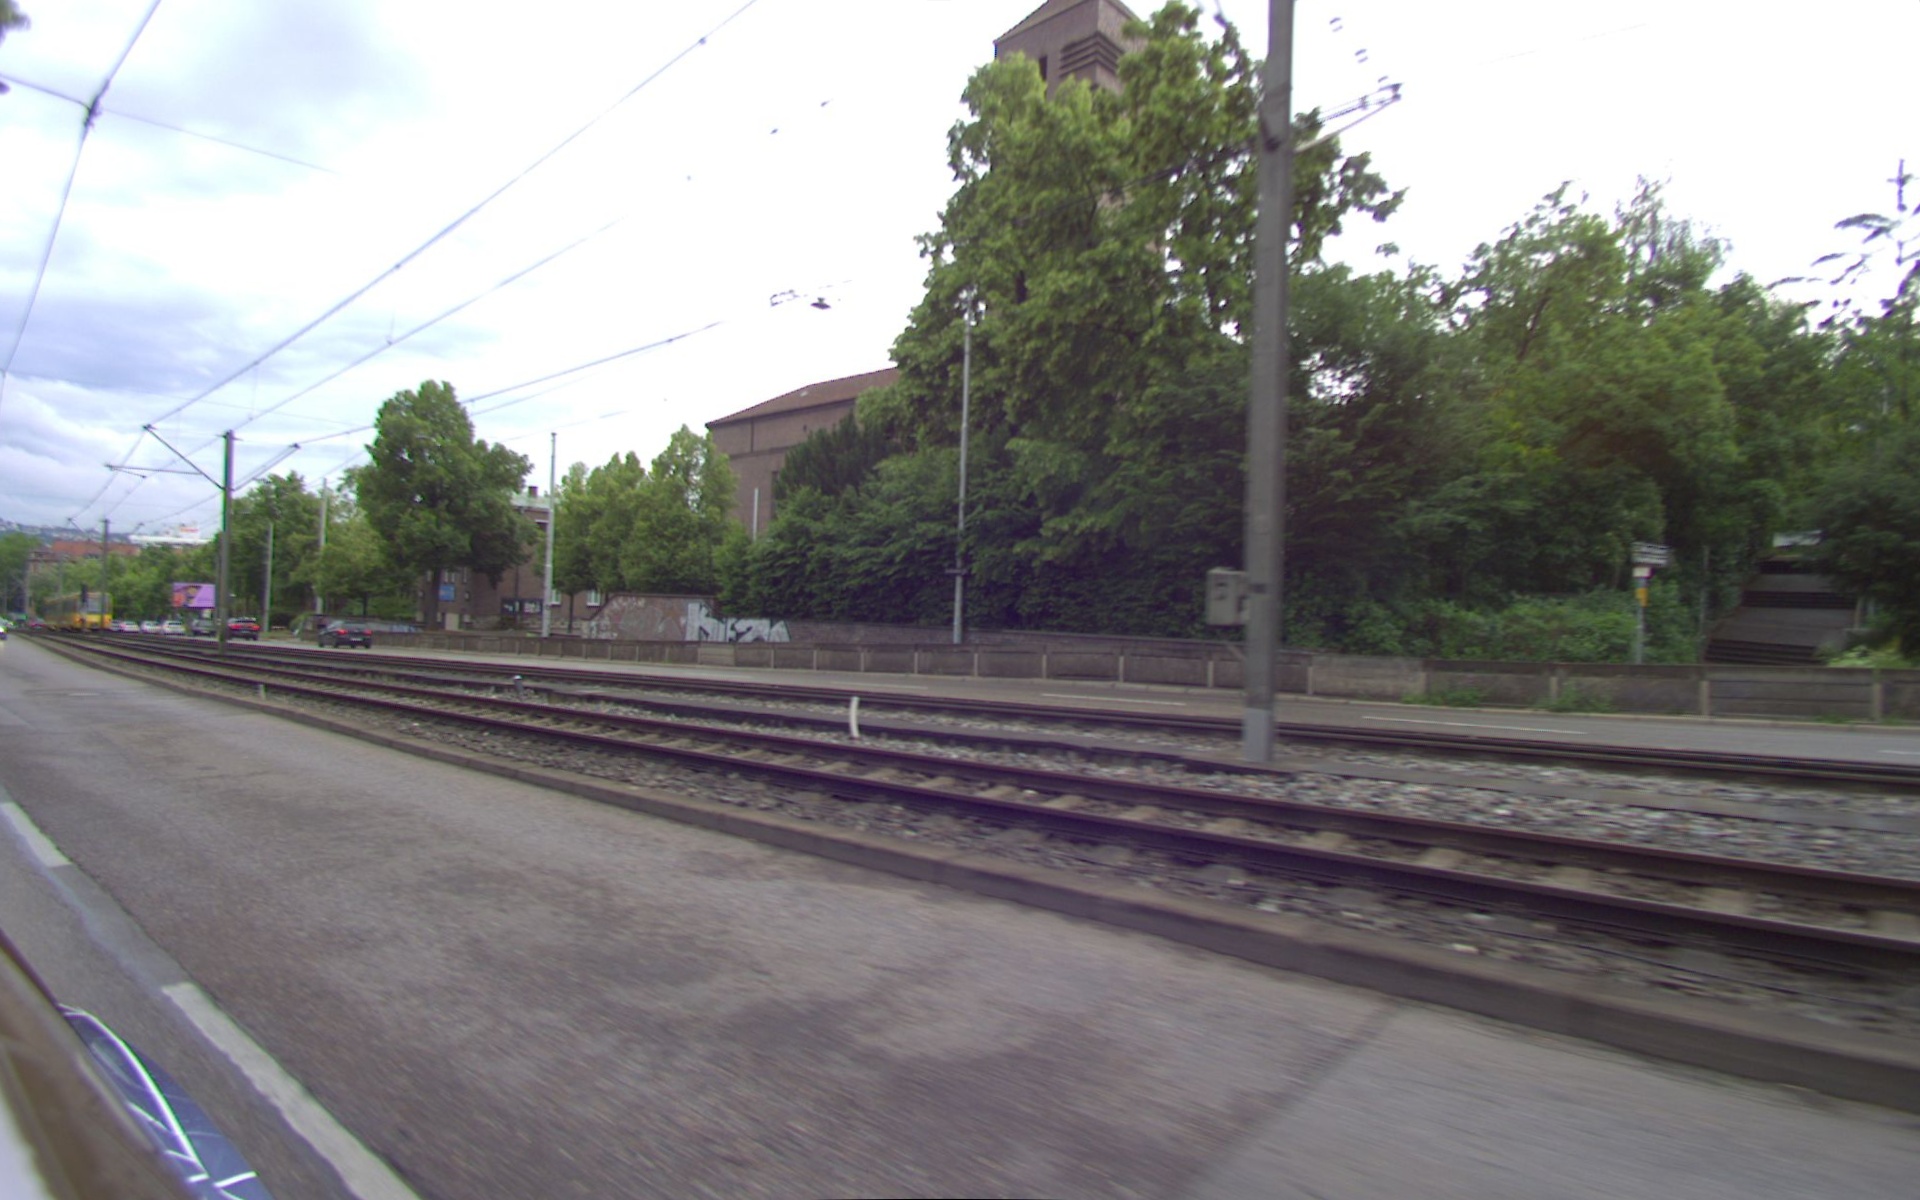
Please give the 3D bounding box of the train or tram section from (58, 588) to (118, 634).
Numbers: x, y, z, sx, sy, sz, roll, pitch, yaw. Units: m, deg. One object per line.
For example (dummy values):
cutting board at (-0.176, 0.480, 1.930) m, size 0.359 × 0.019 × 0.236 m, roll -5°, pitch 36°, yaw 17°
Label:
train or tram section at (-81.582, 1.183, 94.494) m, size 2.796 × 4.006 × 17.885 m, roll 2°, pitch -3°, yaw -45°

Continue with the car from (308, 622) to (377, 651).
car at (-32.920, 1.955, 53.944) m, size 4.321 × 1.452 × 1.944 m, roll -1°, pitch -4°, yaw 42°

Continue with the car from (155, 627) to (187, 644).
car at (-76.865, 3.451, 98.573) m, size 3.985 × 1.479 × 1.727 m, roll -2°, pitch -6°, yaw 43°

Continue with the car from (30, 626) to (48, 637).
car at (-139.332, 4.790, 153.102) m, size 4.342 × 1.650 × 1.668 m, roll -2°, pitch -3°, yaw 45°

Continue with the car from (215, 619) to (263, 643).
car at (-53.131, 2.300, 74.539) m, size 4.525 × 1.656 × 1.971 m, roll -1°, pitch -4°, yaw 43°

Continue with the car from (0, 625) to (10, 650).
car at (-60.402, 2.311, 62.997) m, size 1.743 × 1.523 × 4.345 m, roll 2°, pitch -3°, yaw -43°

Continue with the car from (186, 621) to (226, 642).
car at (-64.697, 2.691, 86.769) m, size 4.412 × 1.656 × 1.971 m, roll -2°, pitch -4°, yaw 44°
